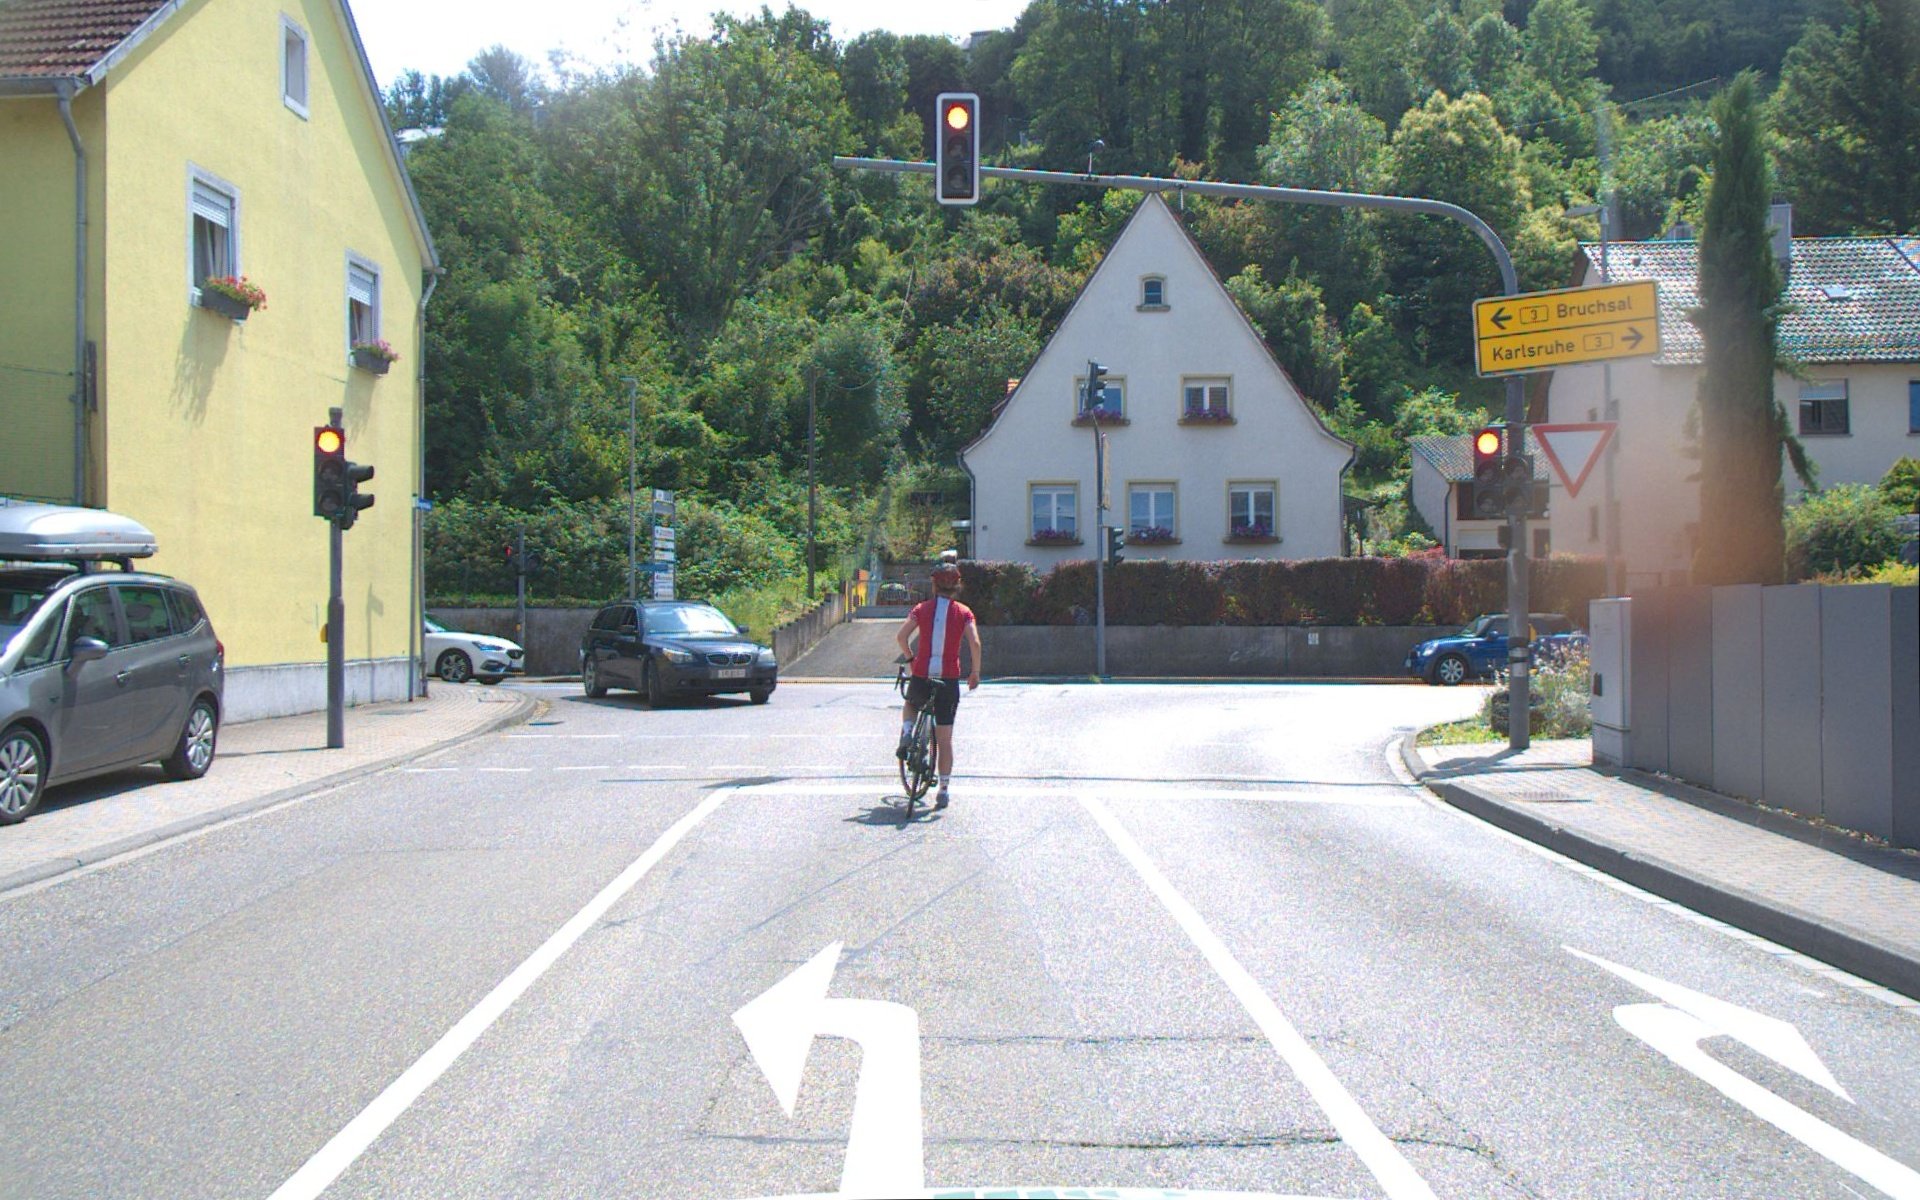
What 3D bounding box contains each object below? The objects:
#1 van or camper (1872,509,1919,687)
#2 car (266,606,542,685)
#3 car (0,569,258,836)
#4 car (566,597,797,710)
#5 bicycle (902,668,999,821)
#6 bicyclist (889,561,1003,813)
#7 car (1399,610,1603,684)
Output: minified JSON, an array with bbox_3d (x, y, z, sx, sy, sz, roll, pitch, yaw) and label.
[{"bbox_3d":[19.423,-0.033,28.737,5.865,3.057,2.220,0,-1,6],"label":"van or camper"},{"bbox_3d":[-10.533,0.876,31.520,4.565,1.452,1.928,0,-2,5],"label":"car"},{"bbox_3d":[-6.980,0.614,11.888,1.953,1.664,4.628,1,0,-2],"label":"car"},{"bbox_3d":[-4.232,0.739,24.496,1.844,1.467,4.622,-1,0,-31],"label":"car"},{"bbox_3d":[-0.088,0.979,11.619,0.617,0.920,1.656,1,0,-2],"label":"bicycle"},{"bbox_3d":[-0.108,0.593,11.647,0.745,1.693,0.868,1,0,-2],"label":"bicyclist"},{"bbox_3d":[10.684,0.940,32.841,3.533,1.387,1.645,1,-3,2],"label":"car"}]
